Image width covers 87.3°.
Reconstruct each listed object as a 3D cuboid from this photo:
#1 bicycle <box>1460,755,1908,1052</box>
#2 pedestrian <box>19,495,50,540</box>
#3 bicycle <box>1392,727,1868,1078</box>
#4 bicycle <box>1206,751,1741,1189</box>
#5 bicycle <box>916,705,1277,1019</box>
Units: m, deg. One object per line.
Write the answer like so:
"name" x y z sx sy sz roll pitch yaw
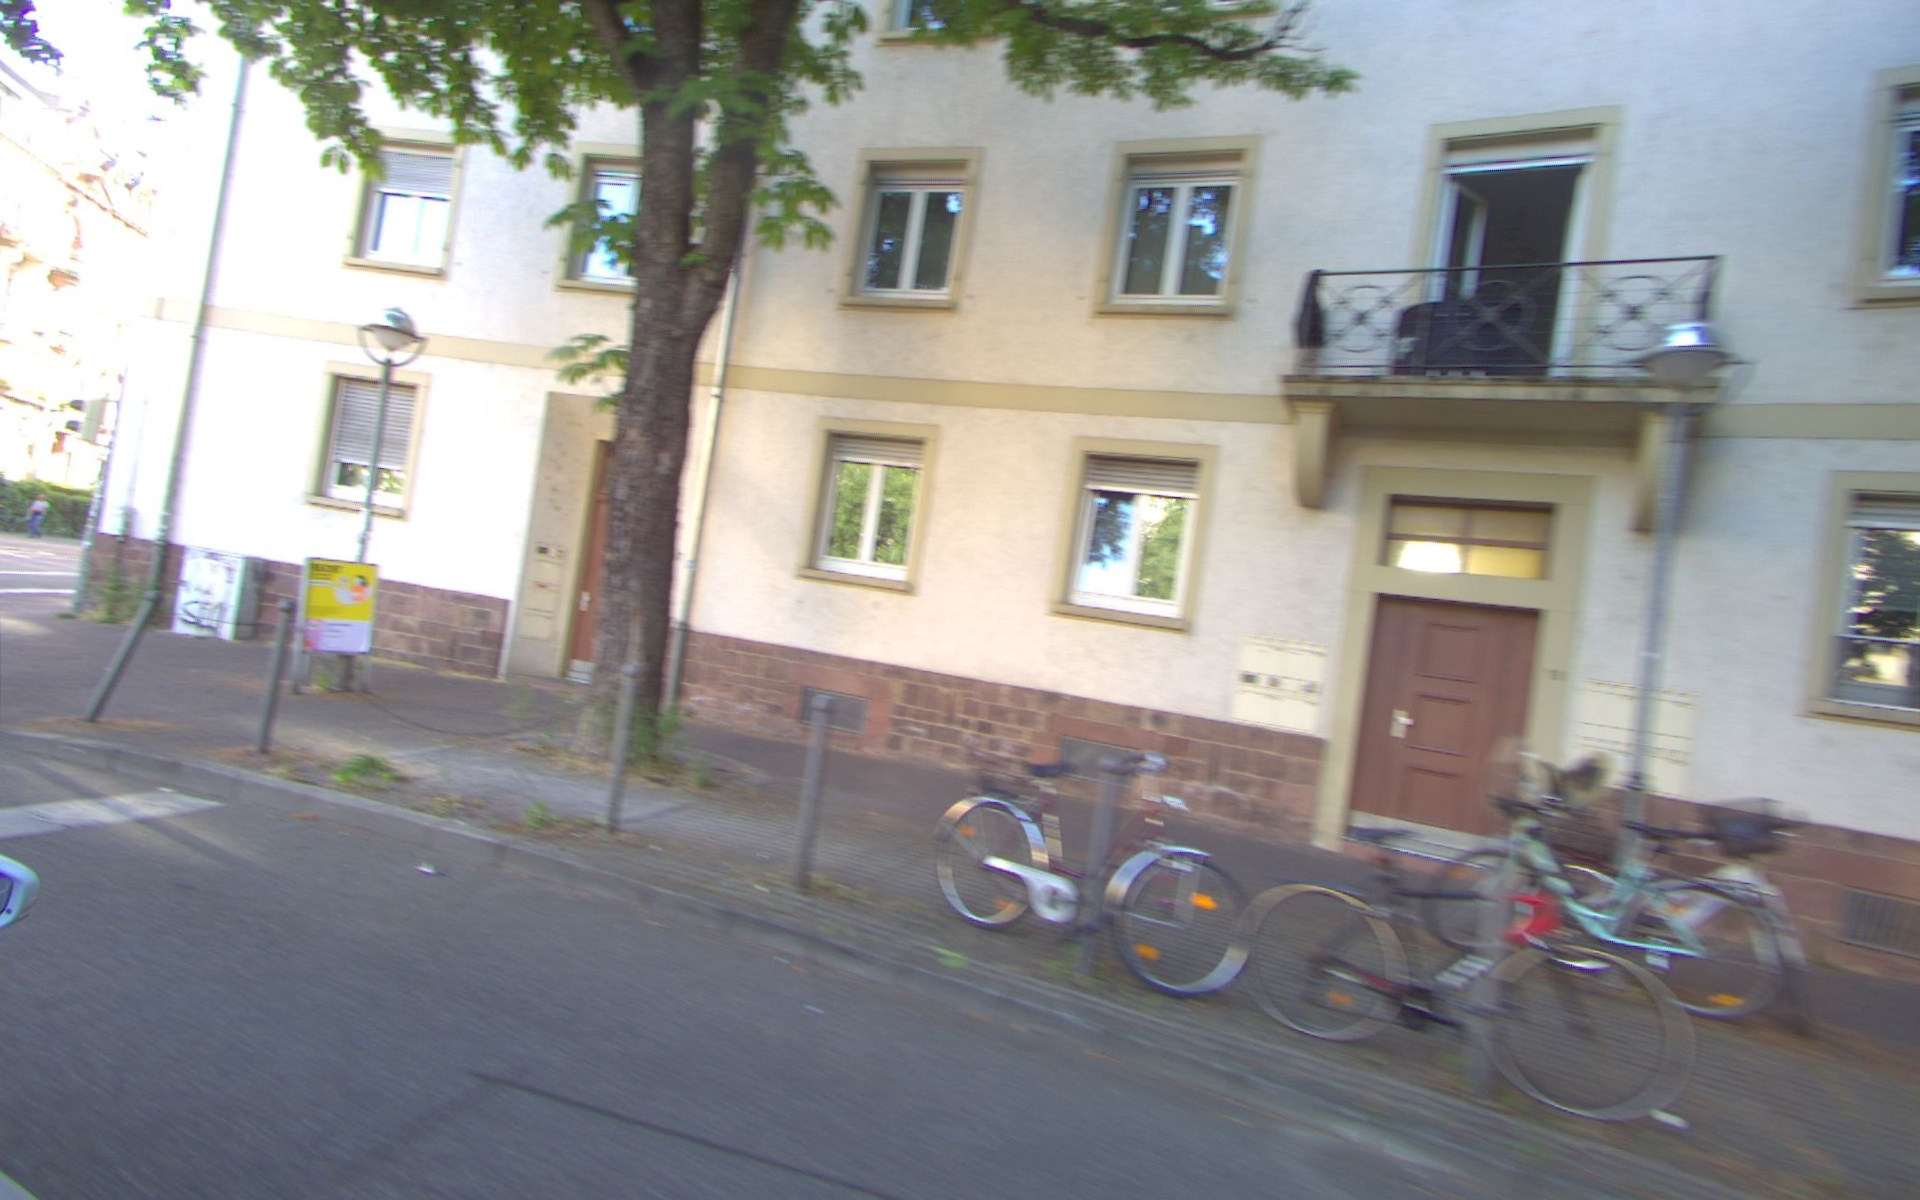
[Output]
"bicycle" 4.130 1.656 5.902 1.938 1.119 0.667 7 -3 40
"pedestrian" -36.987 -3.298 40.187 0.517 1.659 0.495 8 -1 -3
"bicycle" 3.555 1.507 5.514 1.937 1.292 0.717 7 -1 38
"bicycle" 1.971 1.340 4.055 1.713 1.121 0.526 8 1 35
"bicycle" 0.619 1.187 4.960 1.610 1.077 0.480 8 1 37
